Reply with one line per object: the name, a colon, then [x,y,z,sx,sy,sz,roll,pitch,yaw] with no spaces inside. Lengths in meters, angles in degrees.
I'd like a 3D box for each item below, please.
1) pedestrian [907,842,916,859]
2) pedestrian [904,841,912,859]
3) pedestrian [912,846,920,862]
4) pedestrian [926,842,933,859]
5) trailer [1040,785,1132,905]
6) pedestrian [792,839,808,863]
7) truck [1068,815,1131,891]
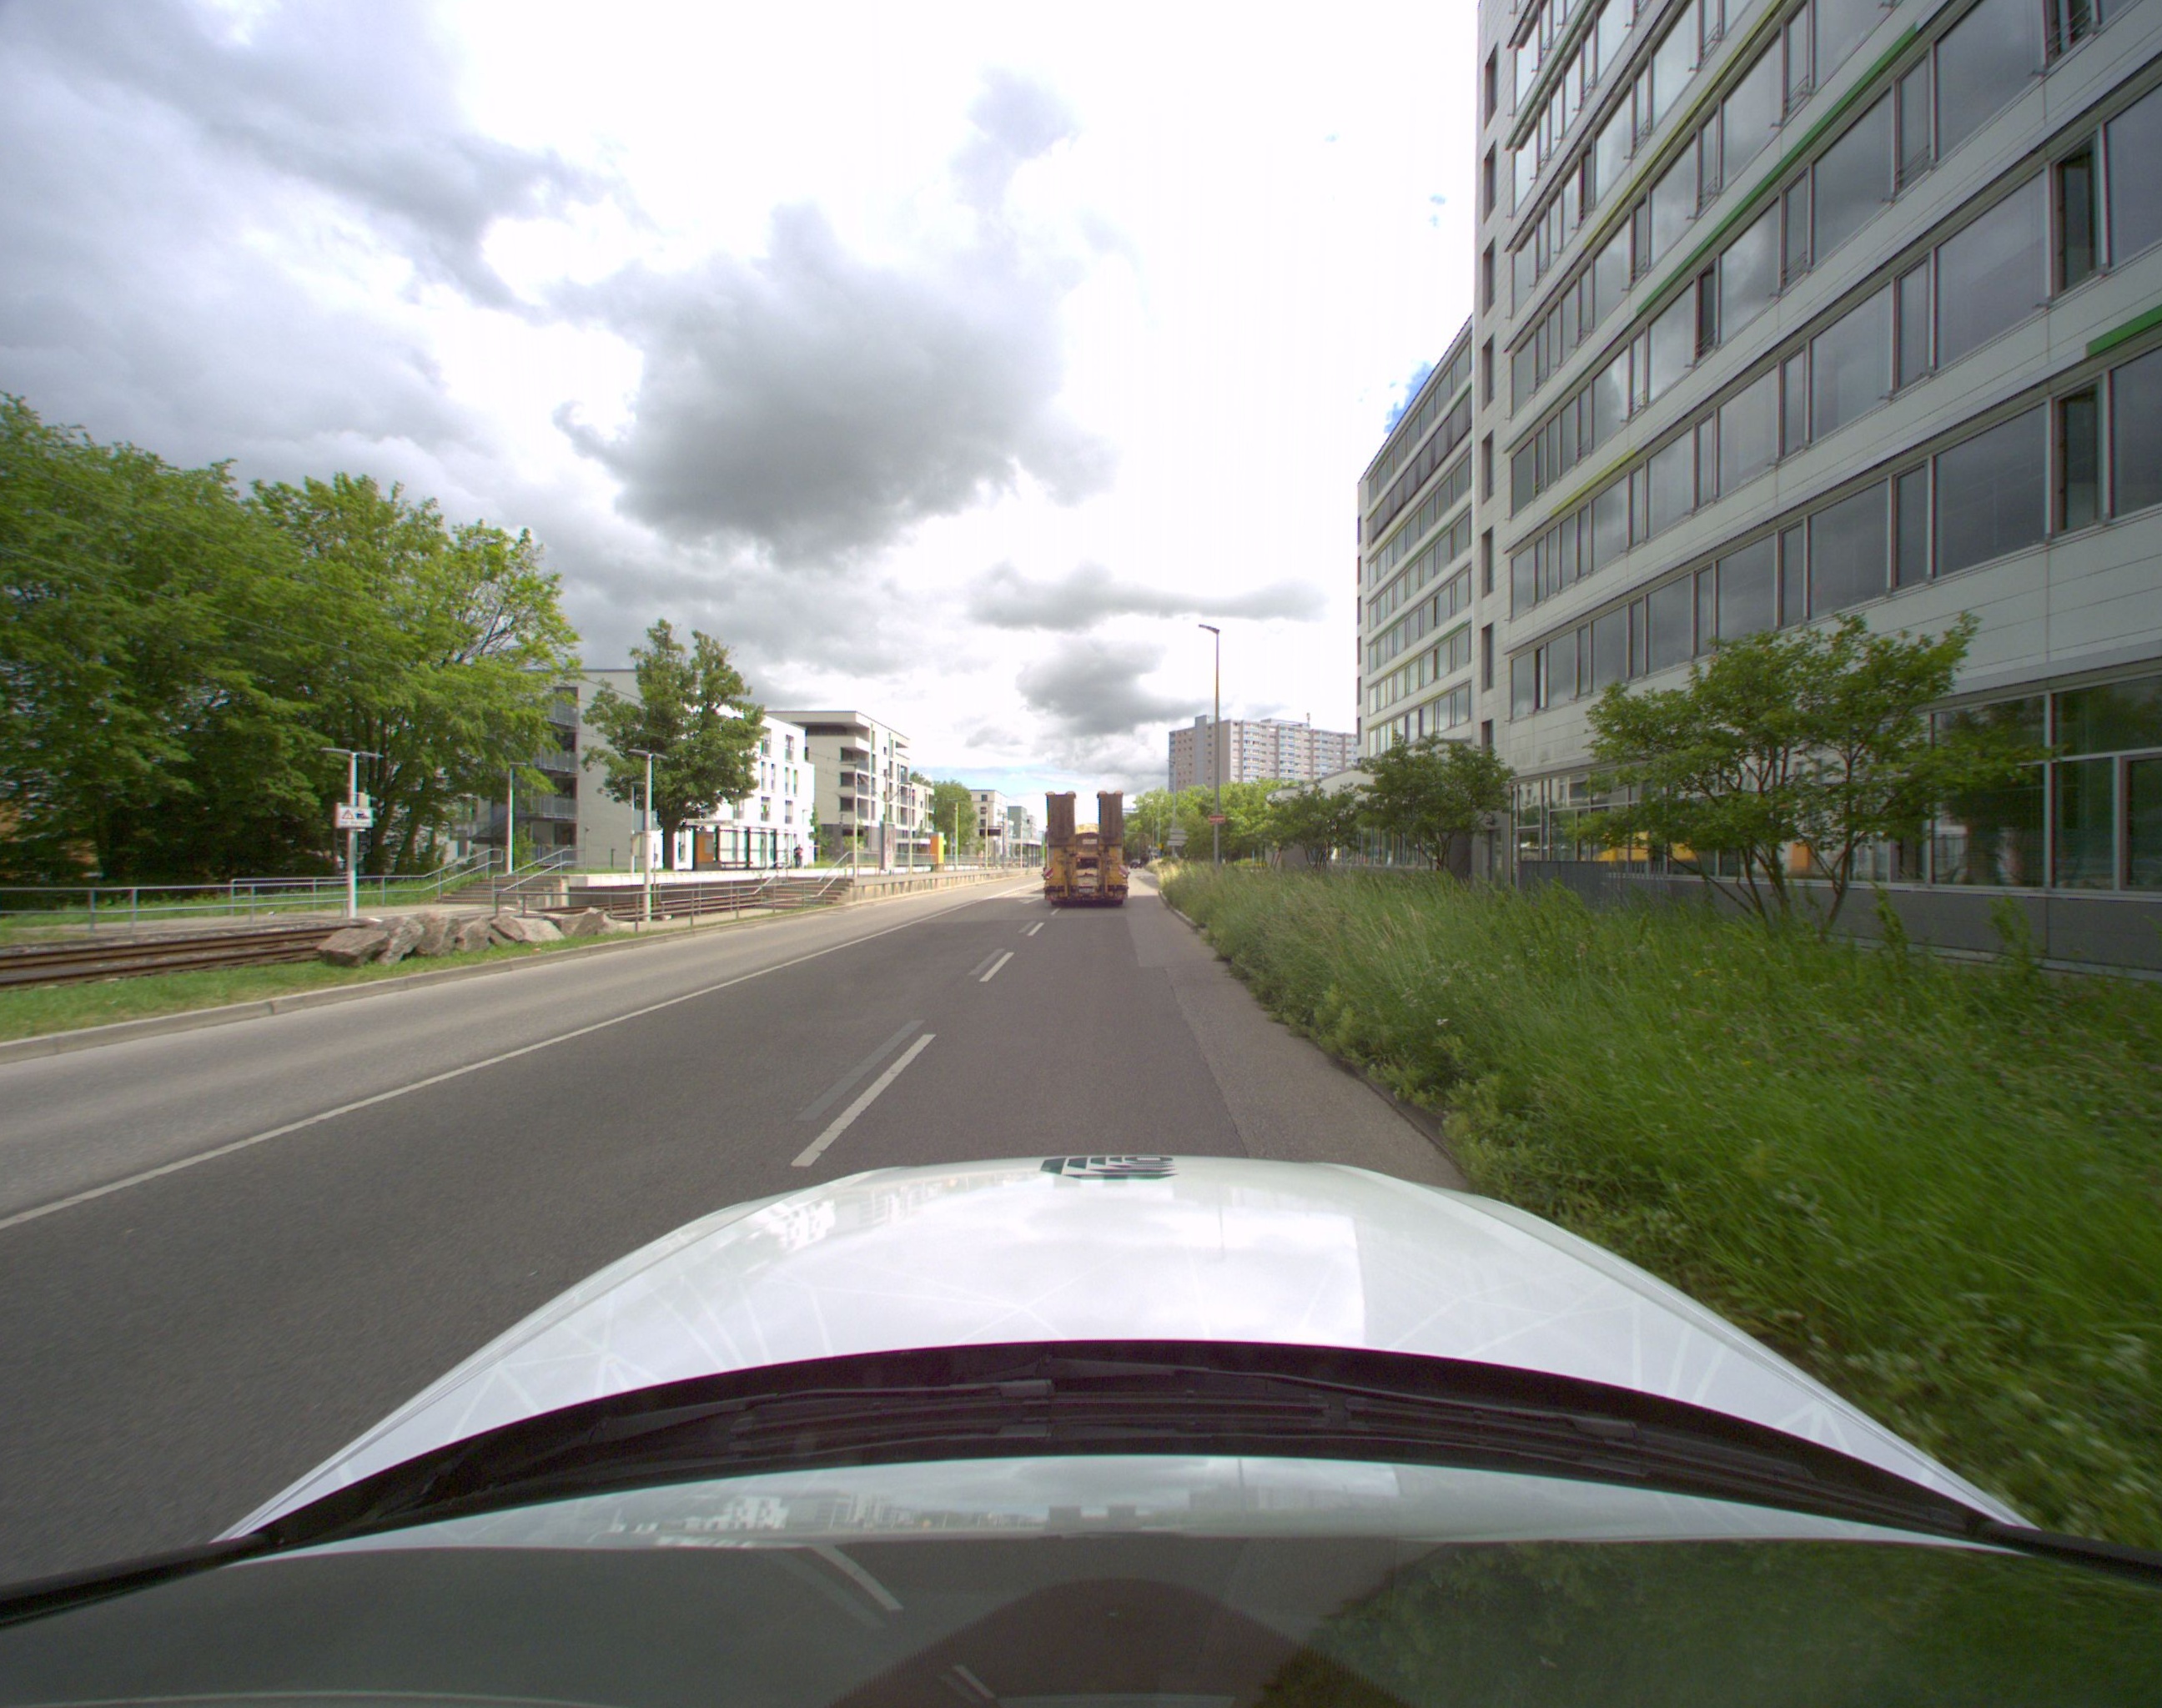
pedestrian: [-16.239,-0.309,77.929,0.681,1.597,0.483,1,-1,-44]
pedestrian: [-16.633,-0.377,78.334,0.490,1.725,0.671,1,-1,-31]
pedestrian: [-16.031,0.019,79.131,0.482,1.597,0.682,-1,-1,38]
pedestrian: [-16.296,-0.367,87.565,0.559,1.766,0.678,0,-1,5]
trailer: [0.467,-0.213,29.715,2.718,3.559,11.262,0,-1,3]
pedestrian: [-17.723,-0.194,51.370,0.737,1.531,0.548,0,-1,6]
truck: [1.017,-0.007,39.509,2.742,3.313,8.357,0,-1,3]
